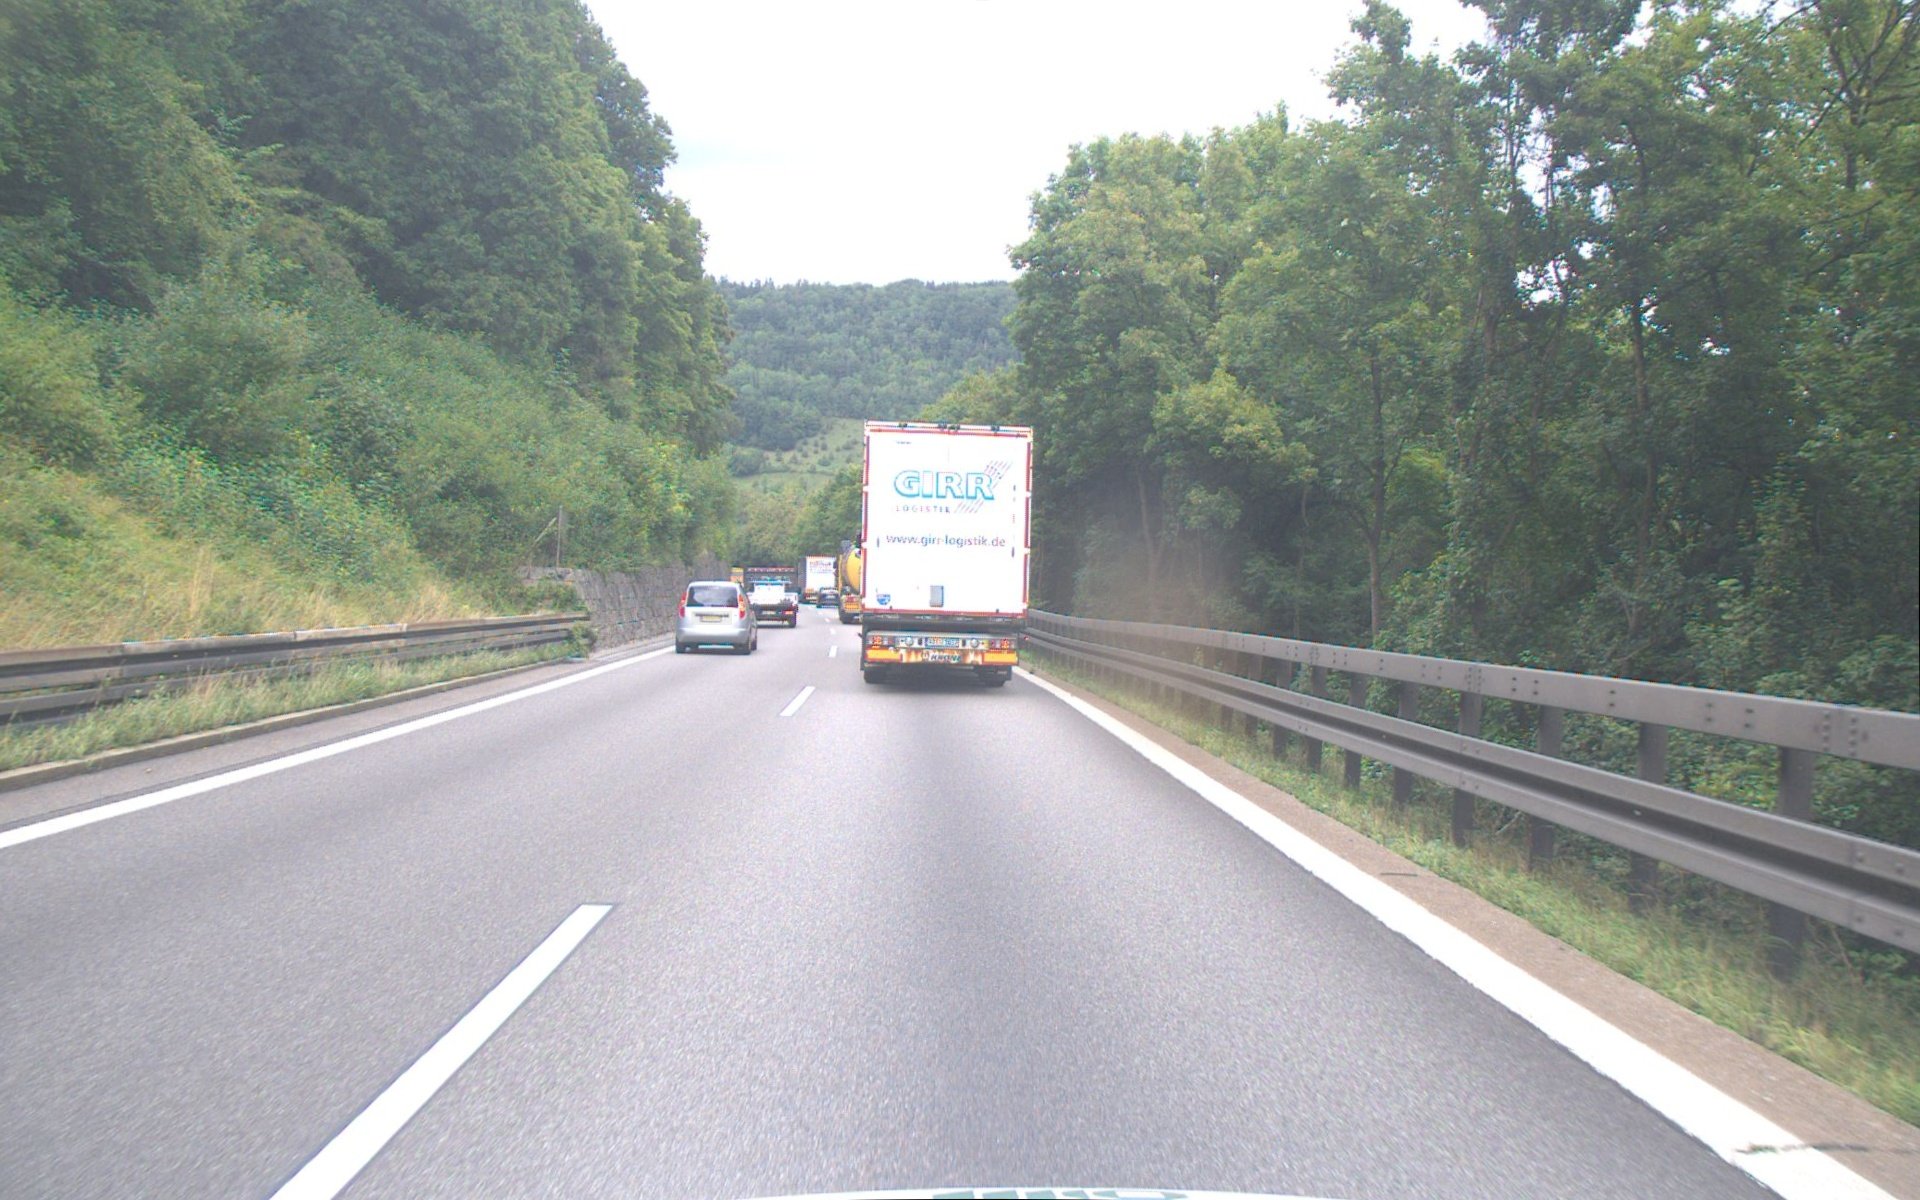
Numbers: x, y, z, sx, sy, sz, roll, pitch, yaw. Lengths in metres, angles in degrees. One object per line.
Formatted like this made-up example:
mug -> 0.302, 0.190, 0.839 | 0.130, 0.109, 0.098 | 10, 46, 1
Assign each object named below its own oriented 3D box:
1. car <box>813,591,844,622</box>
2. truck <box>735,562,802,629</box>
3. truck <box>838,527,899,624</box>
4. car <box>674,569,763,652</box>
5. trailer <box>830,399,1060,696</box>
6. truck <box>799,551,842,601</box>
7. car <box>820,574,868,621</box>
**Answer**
car -> -9.180, 0.434, 115.226 | 1.956, 2.049, 3.994 | 3, 0, -7
truck -> -7.379, -0.175, 64.147 | 2.304, 2.313, 6.841 | 3, 0, -6
truck -> -3.987, -0.990, 70.832 | 2.190, 3.870, 6.815 | 3, 0, -5
car -> -5.546, 0.223, 38.389 | 1.602, 1.757, 4.342 | 2, 0, -3
trailer -> -0.513, -0.804, 28.916 | 3.072, 4.112, 9.432 | 4, 0, -4
truck -> -11.912, -2.010, 140.155 | 3.011, 3.944, 8.443 | 3, 0, -8
car -> -5.476, -0.114, 77.651 | 1.956, 2.049, 4.327 | 3, 0, -7
